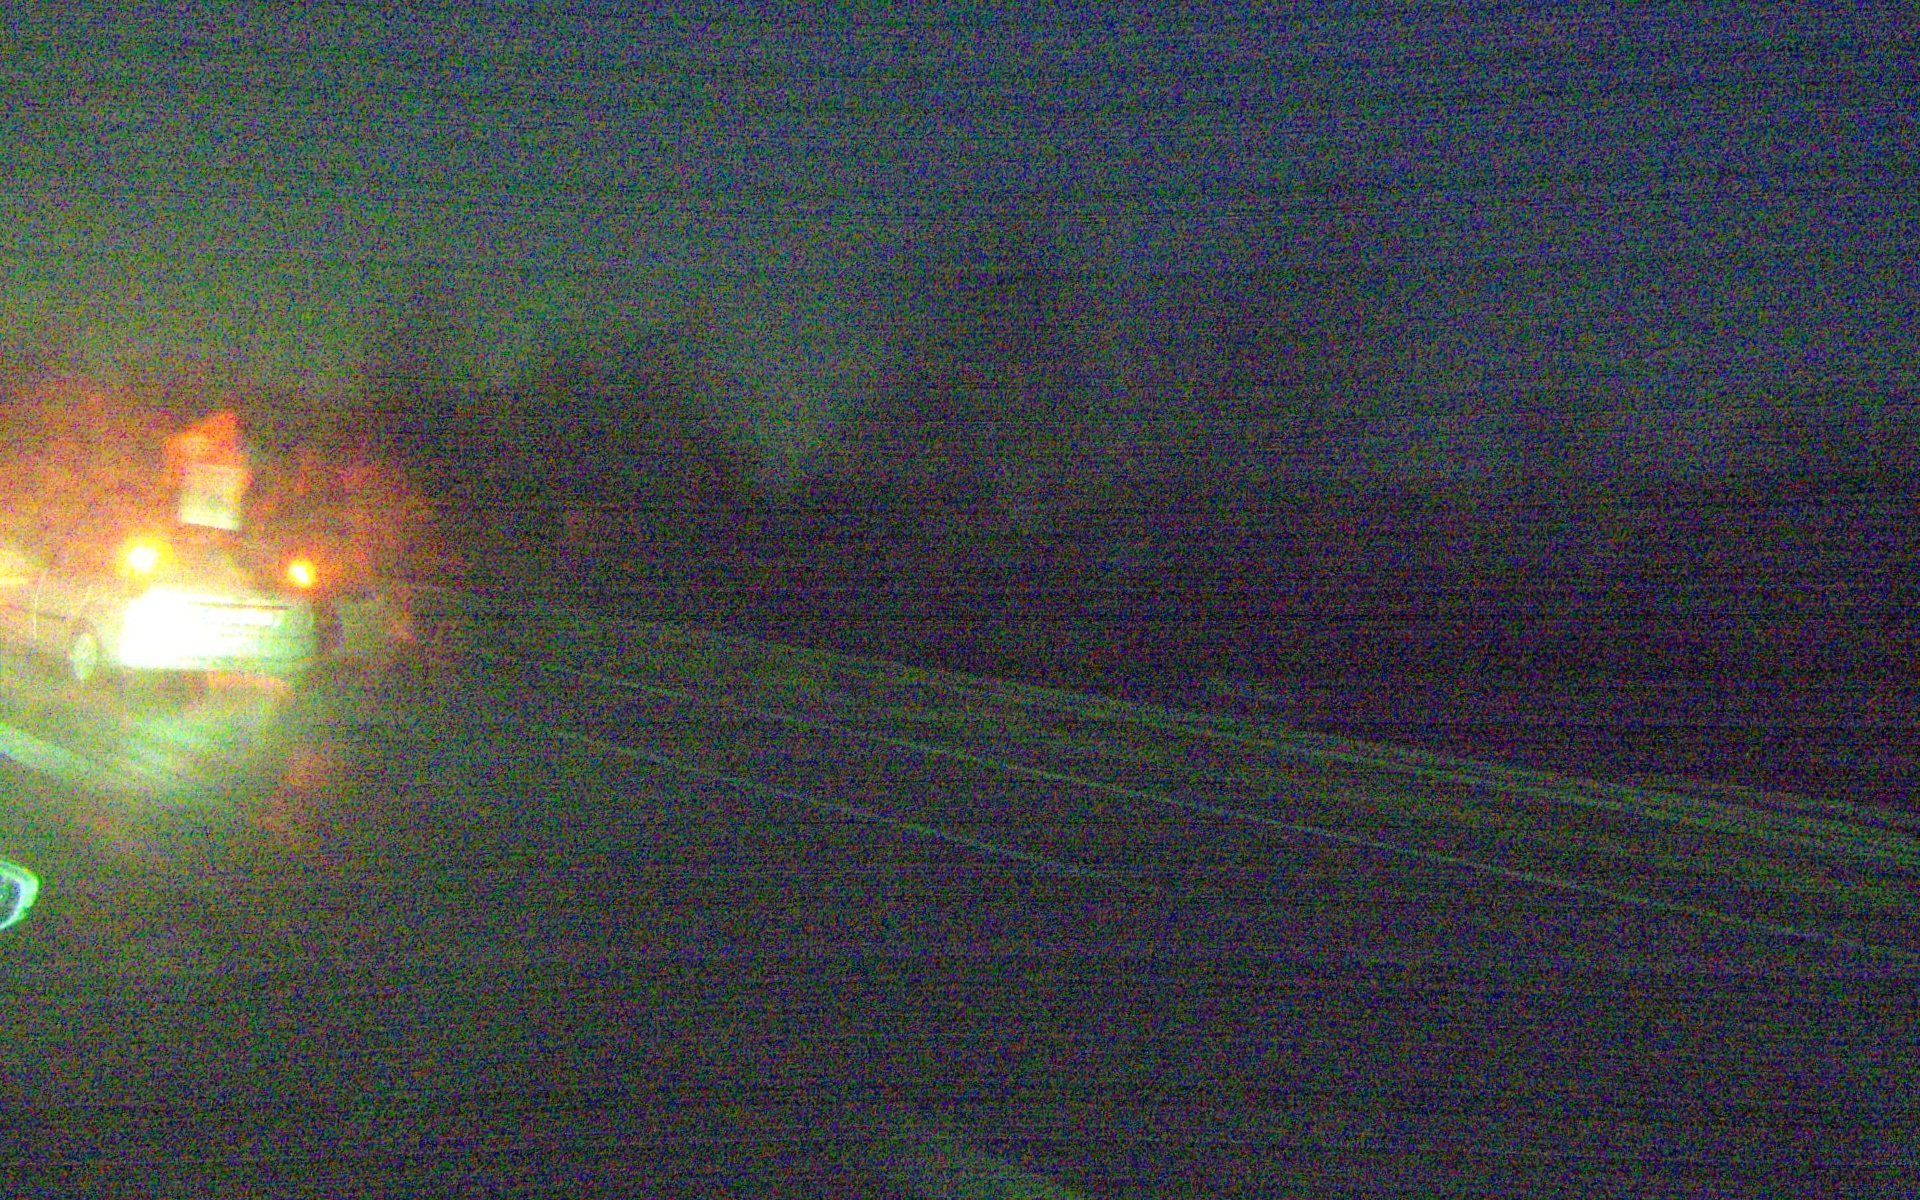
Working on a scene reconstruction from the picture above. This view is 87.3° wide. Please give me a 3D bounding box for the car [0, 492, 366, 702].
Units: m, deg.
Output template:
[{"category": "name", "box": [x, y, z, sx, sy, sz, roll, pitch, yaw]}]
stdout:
[{"category": "car", "box": [-7.669, -0.092, 9.378, 4.124, 1.475, 1.773, 7, -1, 30]}]
